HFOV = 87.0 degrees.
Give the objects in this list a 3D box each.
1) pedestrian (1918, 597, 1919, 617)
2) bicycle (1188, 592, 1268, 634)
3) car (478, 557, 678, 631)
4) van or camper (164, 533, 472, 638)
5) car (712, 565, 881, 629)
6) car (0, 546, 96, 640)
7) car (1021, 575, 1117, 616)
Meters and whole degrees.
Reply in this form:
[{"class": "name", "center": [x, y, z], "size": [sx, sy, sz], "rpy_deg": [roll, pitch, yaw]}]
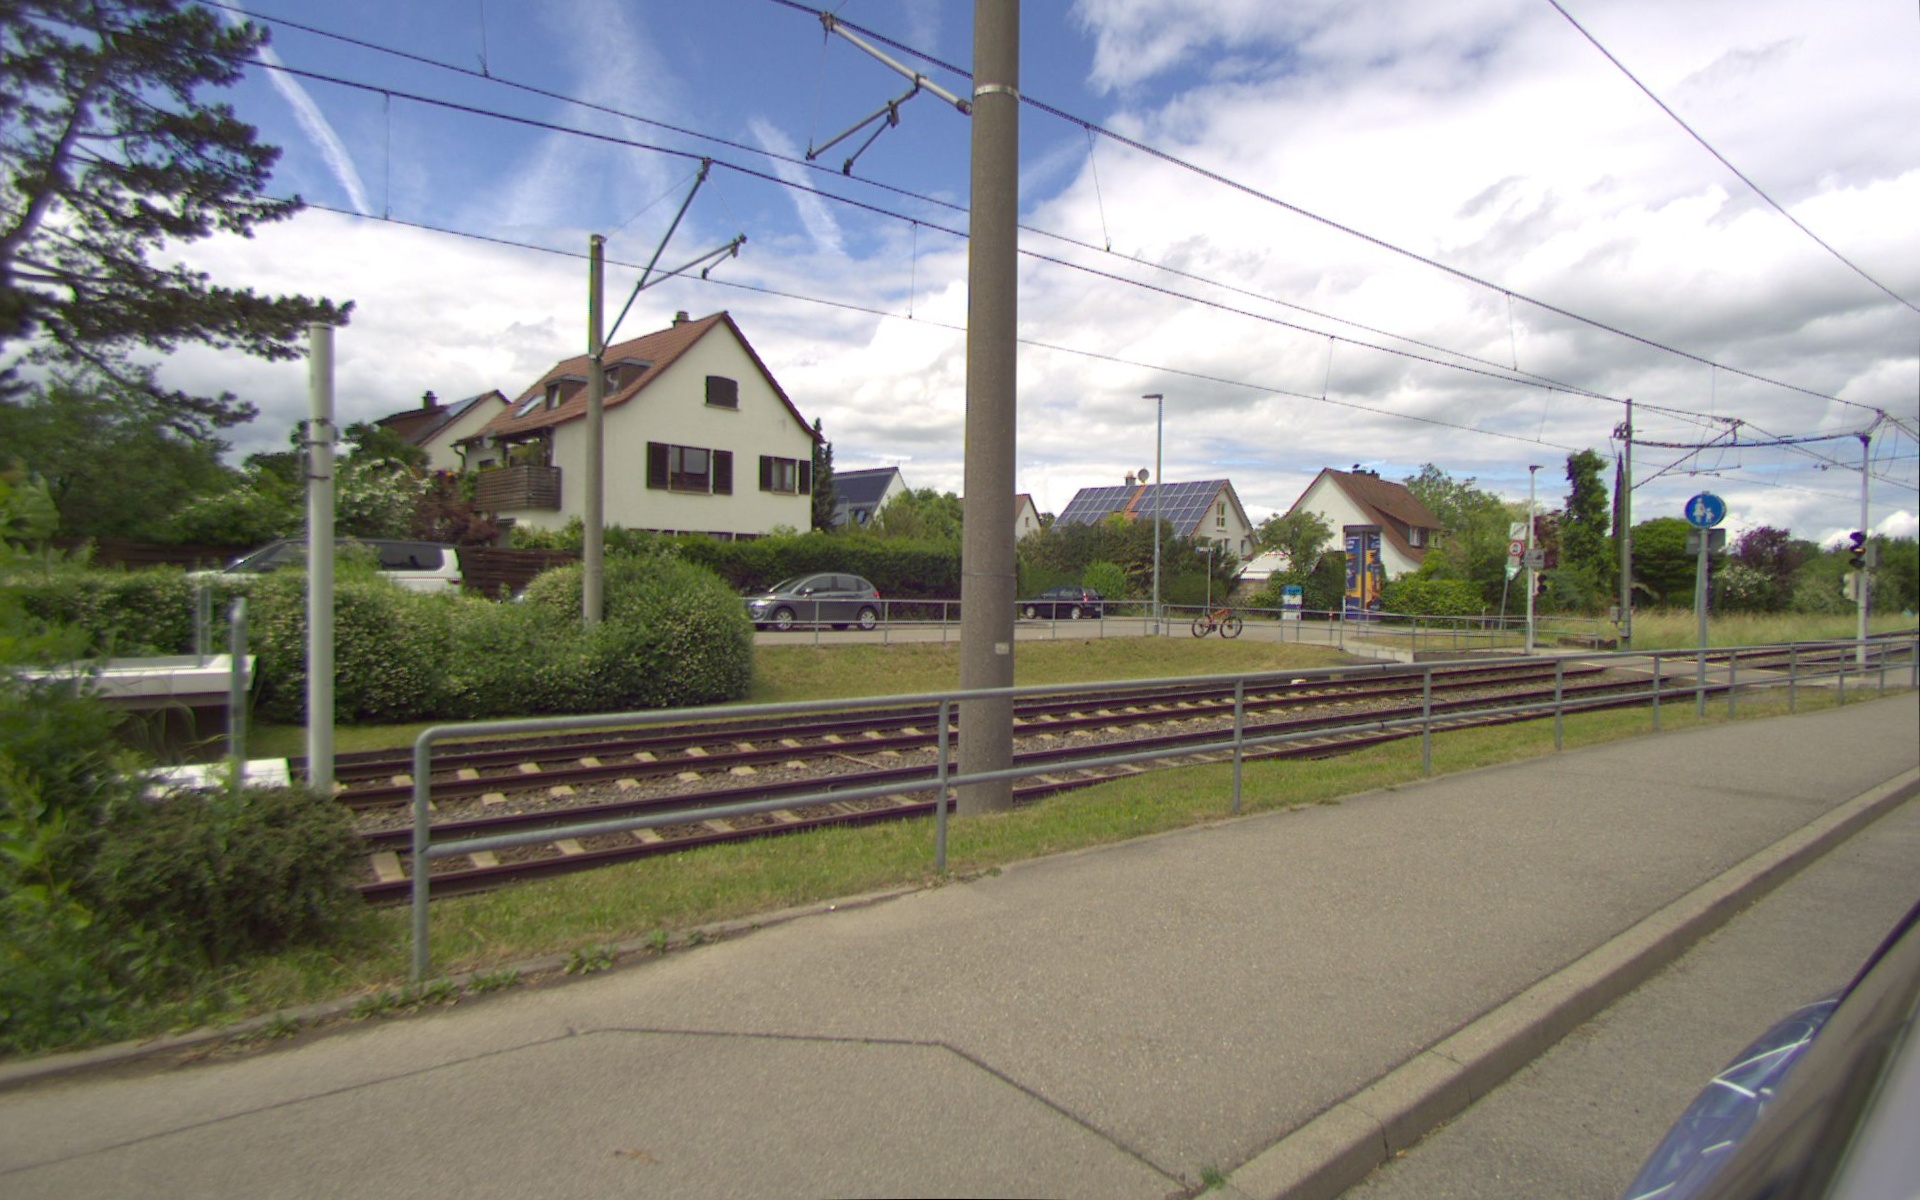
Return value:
[{"class": "pedestrian", "center": [71.210, 0.495, 74.567], "size": [0.653, 1.449, 0.600], "rpy_deg": [-1, -1, -10]}, {"class": "bicycle", "center": [7.312, 0.365, 27.528], "size": [2.491, 1.057, 0.540], "rpy_deg": [2, 4, -35]}, {"class": "car", "center": [-8.616, -0.150, 22.908], "size": [3.924, 1.541, 1.890], "rpy_deg": [0, 1, -35]}, {"class": "van or camper", "center": [-12.553, -0.285, 20.064], "size": [4.951, 1.848, 1.912], "rpy_deg": [0, 1, -35]}, {"class": "car", "center": [-4.208, -0.105, 26.219], "size": [3.924, 1.541, 1.890], "rpy_deg": [0, 1, -35]}, {"class": "car", "center": [-17.119, -0.125, 16.877], "size": [3.924, 1.541, 1.890], "rpy_deg": [0, 1, -35]}, {"class": "car", "center": [4.568, -0.212, 42.679], "size": [3.715, 1.643, 1.798], "rpy_deg": [1, 1, 41]}]
